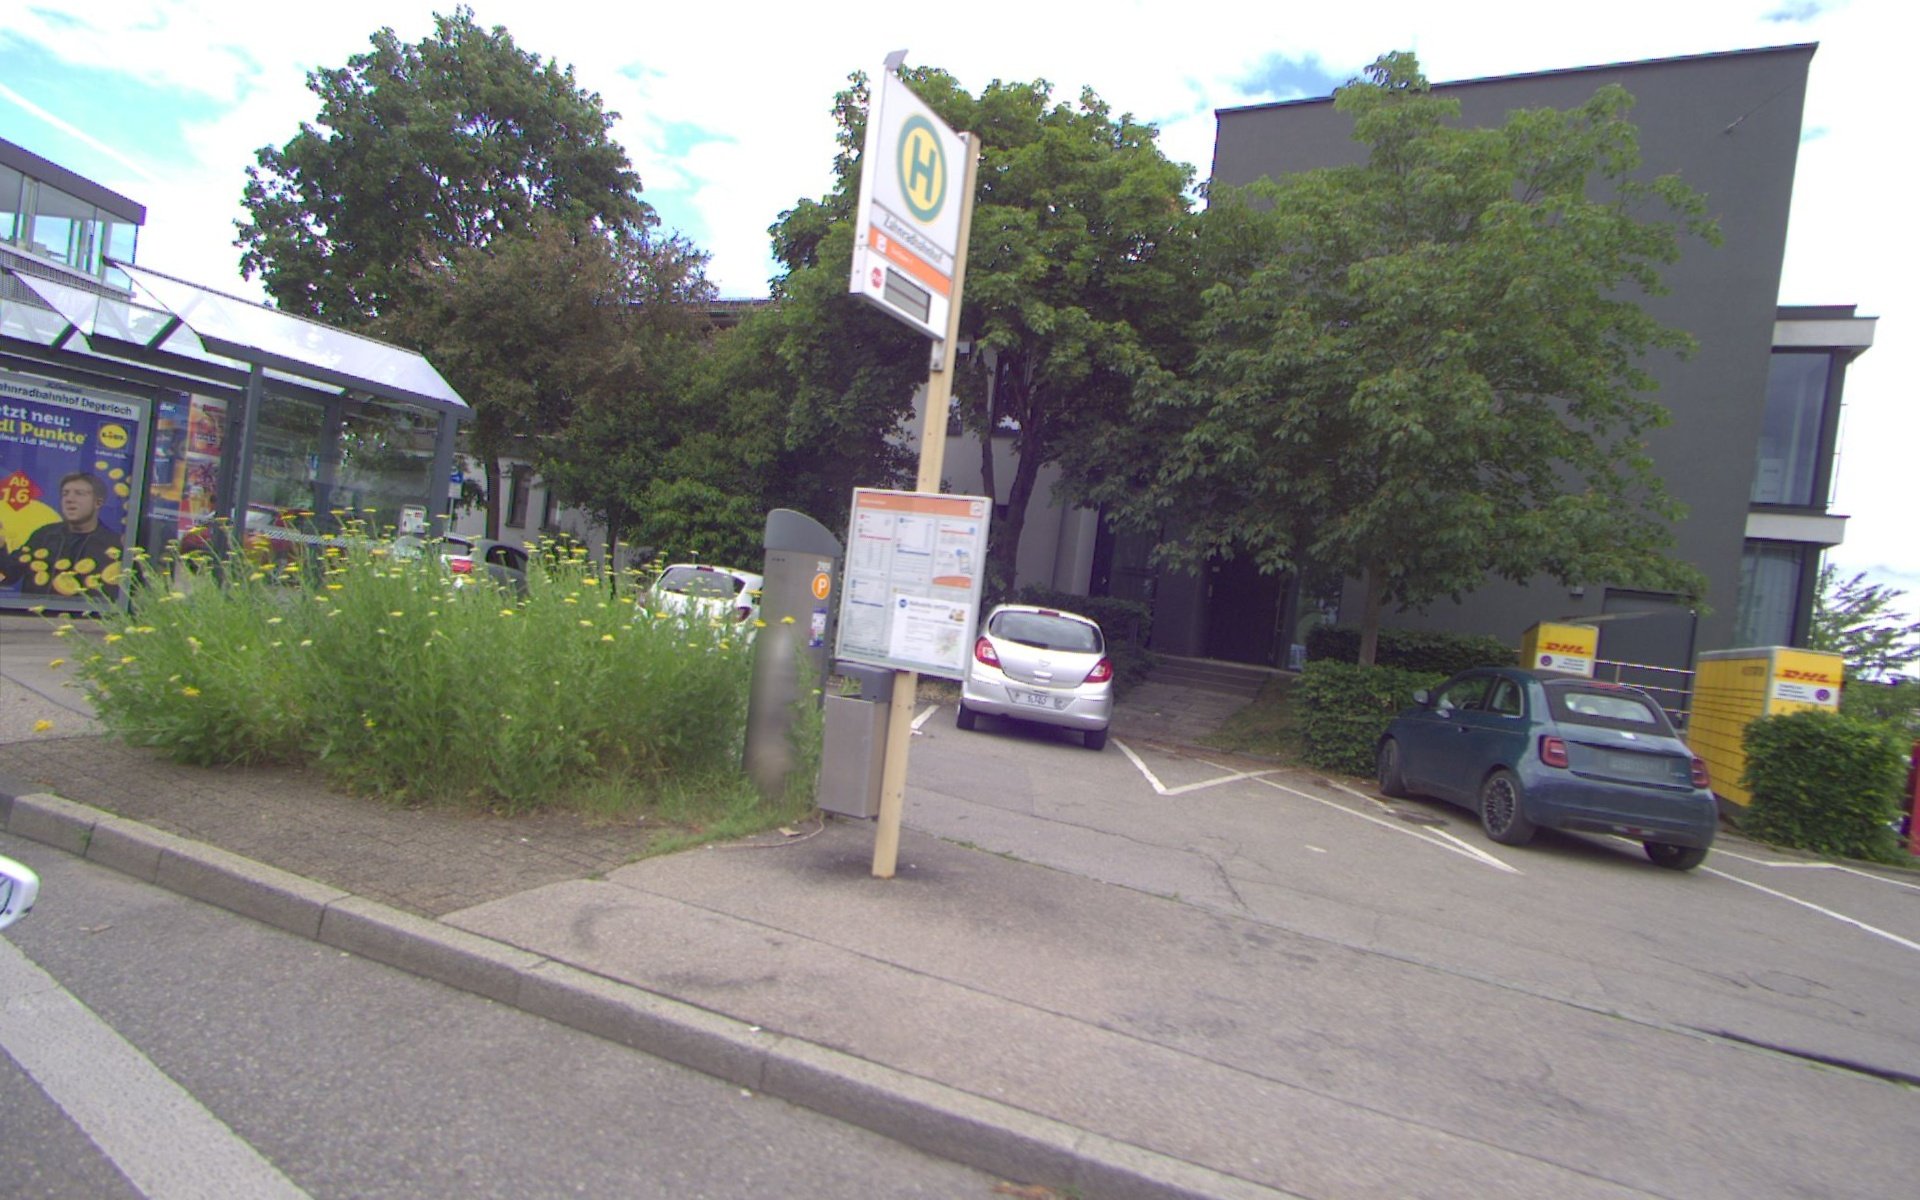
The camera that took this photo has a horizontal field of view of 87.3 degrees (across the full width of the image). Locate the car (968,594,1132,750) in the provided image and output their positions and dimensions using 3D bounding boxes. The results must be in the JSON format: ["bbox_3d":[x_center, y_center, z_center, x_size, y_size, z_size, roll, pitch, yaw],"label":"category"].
[{"bbox_3d":[0.981,0.743,12.260,1.519,1.395,3.515,9,1,1],"label":"car"}]

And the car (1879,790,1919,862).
[{"bbox_3d":[23.440,5.429,23.508,3.822,1.466,1.759,8,-1,-31],"label":"car"}]

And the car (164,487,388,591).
[{"bbox_3d":[-13.088,-1.102,19.531,1.649,1.472,3.506,7,-2,4],"label":"car"}]

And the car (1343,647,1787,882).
[{"bbox_3d":[5.573,1.401,10.001,1.845,1.495,4.000,7,0,0],"label":"car"}]

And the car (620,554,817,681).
[{"bbox_3d":[-3.316,0.194,14.516,1.561,1.454,3.649,6,1,5],"label":"car"}]

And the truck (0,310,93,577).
[{"bbox_3d":[-16.619,-2.625,15.636,7.683,3.569,2.575,8,1,34],"label":"truck"}]

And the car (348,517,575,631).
[{"bbox_3d":[-8.396,-0.344,17.371,1.765,1.490,3.807,7,-2,2],"label":"car"}]
